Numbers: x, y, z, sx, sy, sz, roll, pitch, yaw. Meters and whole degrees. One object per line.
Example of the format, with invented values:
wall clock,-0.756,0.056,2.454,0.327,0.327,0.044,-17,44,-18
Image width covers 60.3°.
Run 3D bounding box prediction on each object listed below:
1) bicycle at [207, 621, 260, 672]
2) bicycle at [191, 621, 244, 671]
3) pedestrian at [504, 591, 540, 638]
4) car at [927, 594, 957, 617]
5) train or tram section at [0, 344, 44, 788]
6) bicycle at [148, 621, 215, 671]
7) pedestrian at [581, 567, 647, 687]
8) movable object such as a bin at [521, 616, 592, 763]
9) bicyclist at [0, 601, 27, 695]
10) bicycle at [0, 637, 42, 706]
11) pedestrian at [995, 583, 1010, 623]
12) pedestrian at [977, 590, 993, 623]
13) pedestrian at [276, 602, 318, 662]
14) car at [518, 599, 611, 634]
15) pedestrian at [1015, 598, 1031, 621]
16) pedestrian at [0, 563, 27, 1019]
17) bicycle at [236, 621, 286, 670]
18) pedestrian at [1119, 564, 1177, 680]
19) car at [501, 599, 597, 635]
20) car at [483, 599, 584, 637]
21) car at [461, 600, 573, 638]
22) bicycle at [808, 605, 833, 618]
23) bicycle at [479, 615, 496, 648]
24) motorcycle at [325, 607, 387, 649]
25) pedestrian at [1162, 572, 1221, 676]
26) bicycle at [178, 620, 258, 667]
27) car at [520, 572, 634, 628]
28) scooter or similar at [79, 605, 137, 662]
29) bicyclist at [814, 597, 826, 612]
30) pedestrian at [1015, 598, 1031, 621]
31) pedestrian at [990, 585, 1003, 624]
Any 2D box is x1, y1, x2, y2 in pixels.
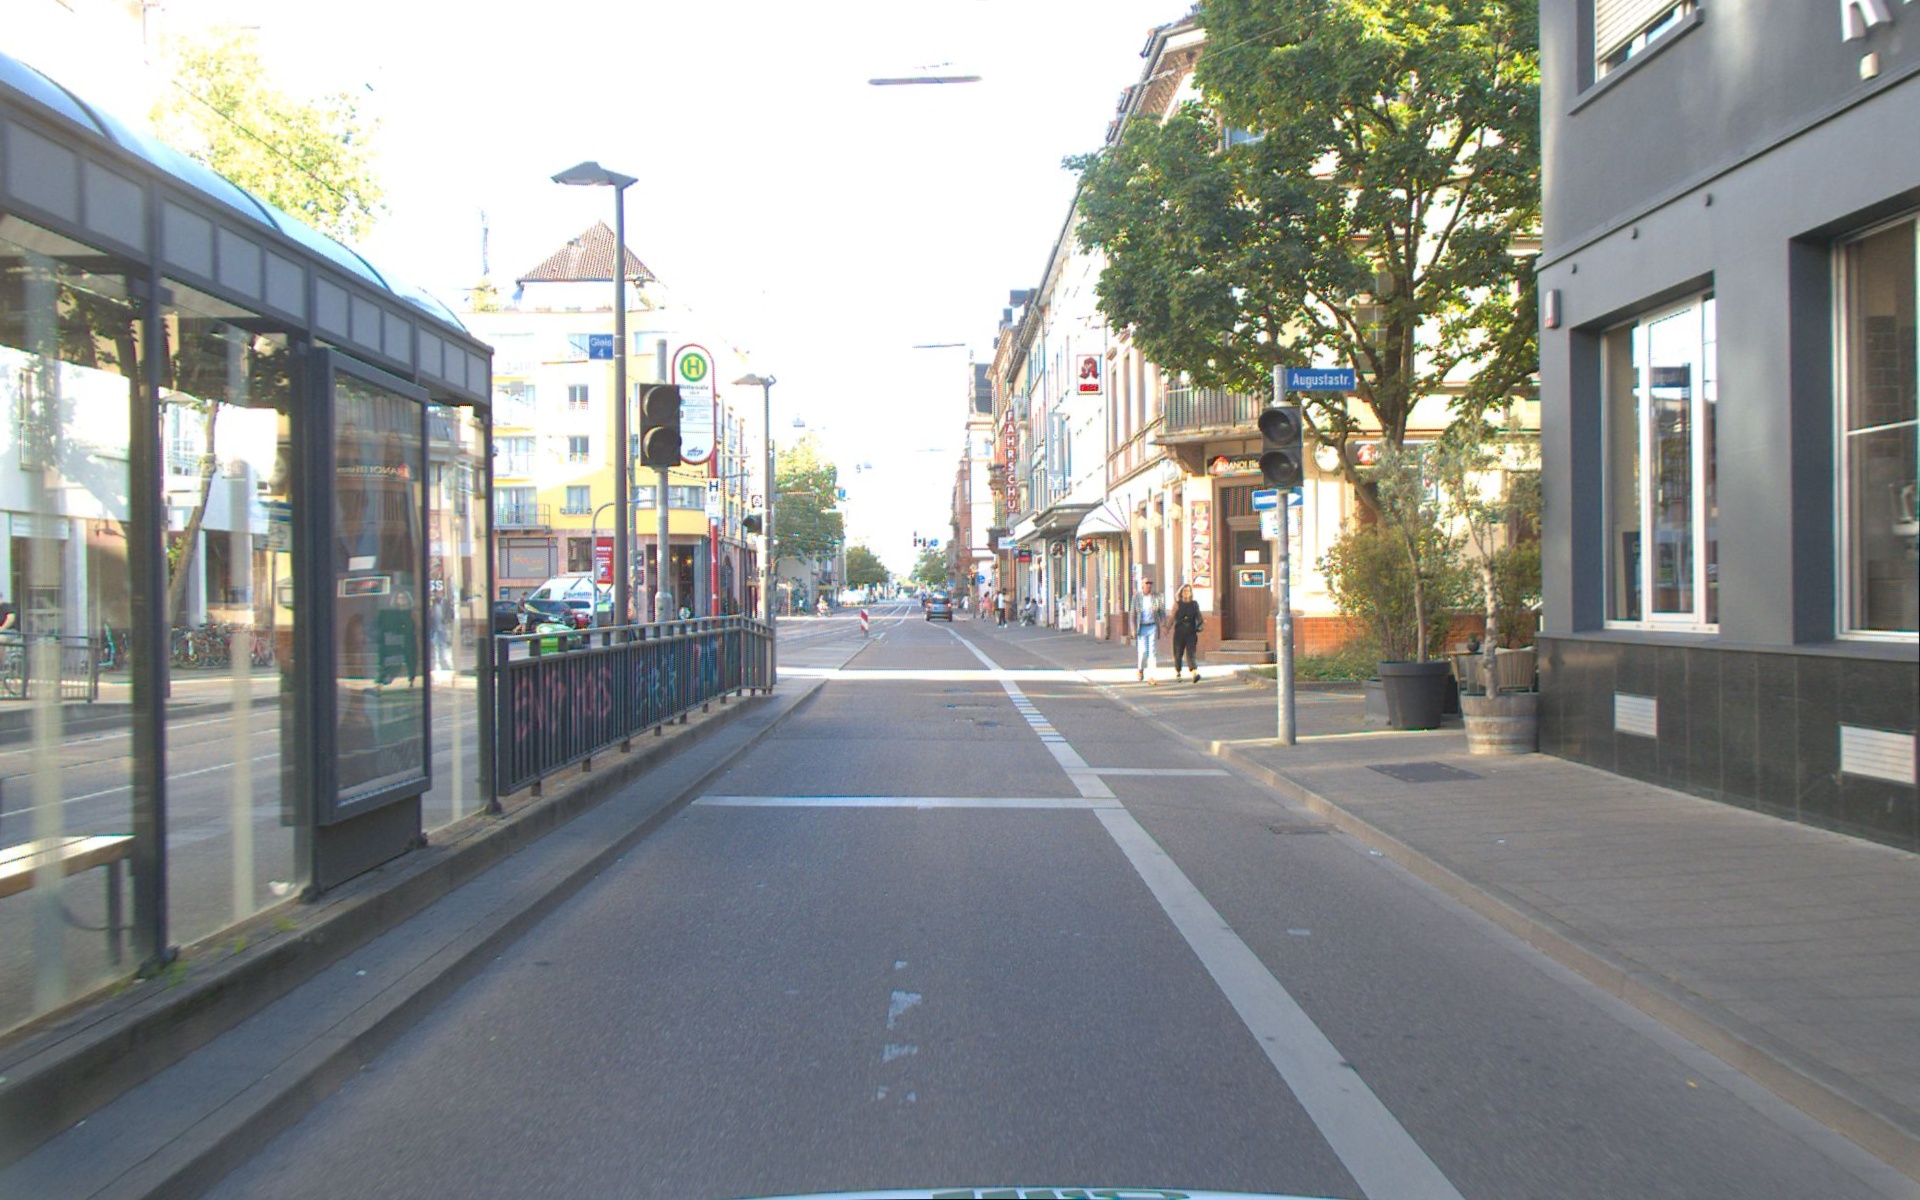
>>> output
bicycle,-17.589,1.112,40.062,0.488,1.127,1.800,1,1,-1
bicycle,-18.011,1.100,40.163,0.488,1.127,1.800,1,1,-1
pedestrian,-17.390,0.561,65.633,1.139,1.846,0.900,-1,0,-36
car,-1.218,0.331,111.064,1.953,1.474,3.999,-1,0,-2
train or tram section,-8.935,-0.336,6.358,2.827,3.551,14.945,0,-1,-1
bicycle,-18.683,1.088,39.725,0.488,1.127,1.802,1,1,11
pedestrian,-5.167,0.391,24.749,0.852,1.744,0.787,1,1,-4
movable object such as a bin,-2.737,0.597,11.243,0.345,0.961,0.530,-2,0,-2
bicyclist,-16.707,0.834,28.563,0.714,1.595,0.719,-2,0,-1
bicycle,-16.697,1.243,28.529,0.714,1.127,1.800,-2,1,-1
pedestrian,1.969,0.144,76.215,0.635,1.828,0.562,-1,0,3
pedestrian,1.475,0.388,97.656,0.826,1.951,0.661,-1,0,-3
pedestrian,-19.067,0.924,47.579,1.002,1.690,0.913,1,0,-28
car,-18.574,0.755,77.716,3.906,1.536,1.800,-1,0,-1
pedestrian,2.887,0.432,75.589,0.676,1.061,0.681,-1,0,3
pedestrian,-2.864,0.511,4.183,0.671,1.196,0.537,-2,0,-1
bicycle,-17.281,1.107,40.932,0.488,1.127,1.800,1,1,-1
pedestrian,3.074,0.347,27.070,0.699,1.805,0.772,-4,1,-5
car,-18.649,0.767,75.183,3.906,1.536,1.800,-1,0,-1
car,-18.693,0.778,72.600,3.906,1.536,1.800,-1,0,-1
car,-18.676,0.798,69.903,4.232,1.536,1.800,-1,0,-1
bicycle,-11.669,0.931,138.226,1.893,1.021,0.754,-2,0,16
bicycle,-17.097,1.138,59.921,0.490,1.127,1.794,-1,0,-13
motorcycle,-19.431,0.895,53.236,1.760,1.320,0.605,1,0,-8
pedestrian,3.778,0.383,27.057,0.699,1.630,0.772,-4,1,-5
bicycle,-18.556,1.068,41.392,0.491,1.127,1.791,2,1,39
car,-18.578,-0.018,80.296,5.001,2.621,2.128,-1,0,-1
scooter or similar,-19.189,0.747,37.266,0.488,1.213,1.273,1,1,10
bicyclist,-11.715,0.397,138.235,0.695,1.242,0.754,-2,0,16
pedestrian,2.911,0.436,76.351,0.676,1.061,0.681,-1,0,3
pedestrian,1.711,0.203,77.782,0.548,1.828,0.651,-1,0,5
